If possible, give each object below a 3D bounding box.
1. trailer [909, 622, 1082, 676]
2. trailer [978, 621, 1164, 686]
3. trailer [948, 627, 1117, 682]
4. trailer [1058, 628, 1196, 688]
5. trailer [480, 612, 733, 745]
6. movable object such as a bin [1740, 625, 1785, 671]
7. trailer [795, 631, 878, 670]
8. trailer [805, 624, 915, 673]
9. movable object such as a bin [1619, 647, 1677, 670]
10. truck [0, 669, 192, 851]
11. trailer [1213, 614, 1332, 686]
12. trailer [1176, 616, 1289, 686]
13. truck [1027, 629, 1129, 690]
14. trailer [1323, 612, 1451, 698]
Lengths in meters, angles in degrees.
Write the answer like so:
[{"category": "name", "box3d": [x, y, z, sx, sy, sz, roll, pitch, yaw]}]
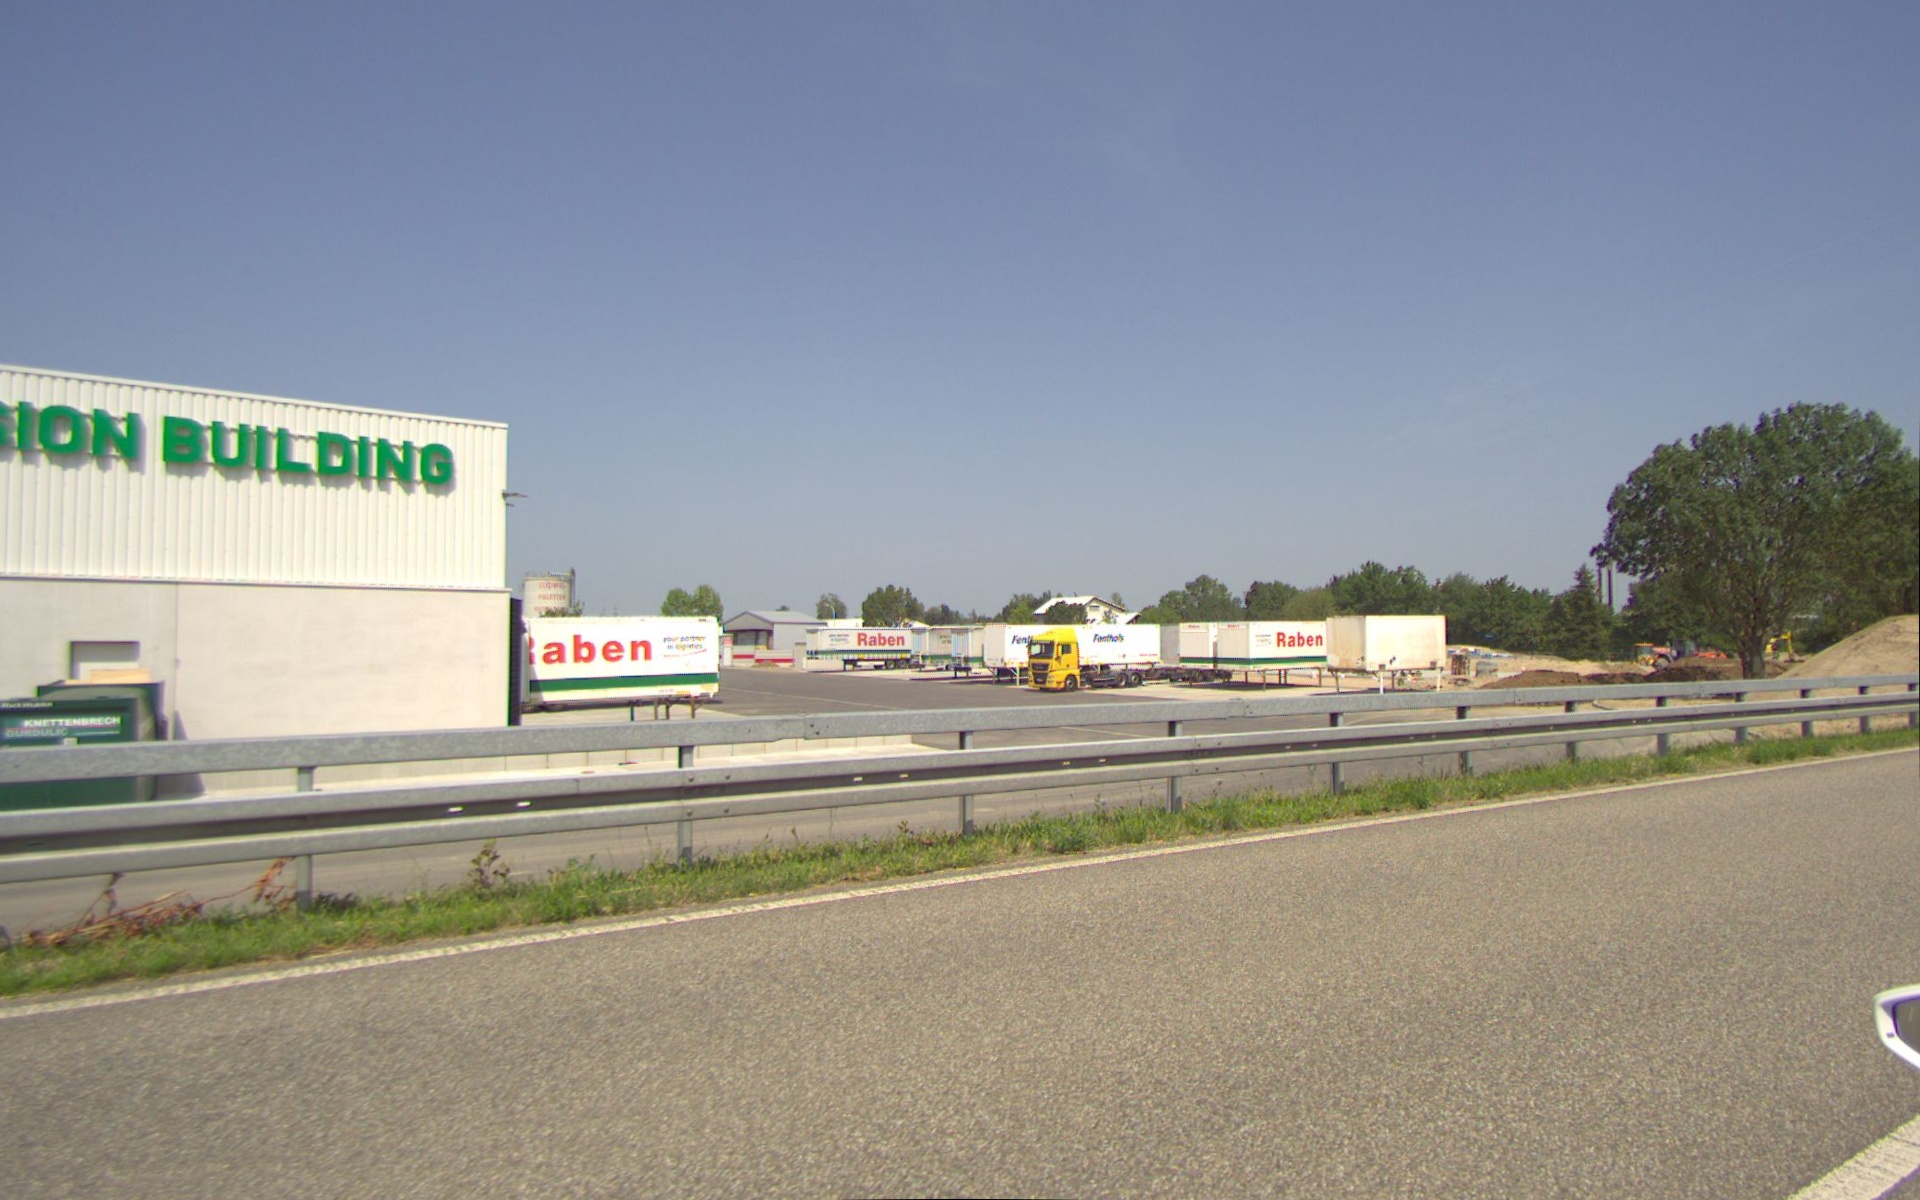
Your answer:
[{"category": "trailer", "box3d": [3.104, 3.790, 80.118, 15.303, 3.974, 2.639, 1, -1, -35]}, {"category": "trailer", "box3d": [8.343, 3.715, 72.548, 15.425, 4.317, 2.680, 1, -1, -35]}, {"category": "trailer", "box3d": [5.626, 3.888, 74.467, 13.934, 3.740, 2.639, 1, -1, -35]}, {"category": "trailer", "box3d": [11.149, 3.676, 65.943, 11.077, 3.556, 2.348, 1, -1, -40]}, {"category": "trailer", "box3d": [-11.716, 2.557, 33.685, 7.506, 4.040, 2.646, 3, -2, -35]}, {"category": "movable object such as a bin", "box3d": [67.707, 4.096, 84.678, 2.591, 3.699, 5.433, -4, -5, 41]}, {"category": "trailer", "box3d": [-12.632, 5.125, 103.339, 8.237, 3.821, 2.454, 2, -1, -35]}, {"category": "trailer", "box3d": [-9.396, 4.506, 95.611, 10.758, 4.463, 2.634, 1, -1, -40]}, {"category": "movable object such as a bin", "box3d": [62.698, 5.357, 91.557, 1.986, 2.039, 3.950, 2, -5, -43]}, {"category": "truck", "box3d": [-15.709, 2.696, 18.374, 2.250, 2.571, 5.013, 2, -1, -34]}, {"category": "trailer", "box3d": [19.407, 2.990, 62.204, 7.814, 4.203, 2.728, 1, -1, -33]}, {"category": "trailer", "box3d": [17.591, 3.194, 64.629, 7.458, 4.275, 2.838, 1, -1, -33]}, {"category": "truck", "box3d": [7.439, 3.621, 62.806, 6.798, 3.556, 2.349, 1, -1, -40]}, {"category": "trailer", "box3d": [23.509, 2.890, 55.155, 7.871, 4.390, 2.662, 1, -1, -34]}]
